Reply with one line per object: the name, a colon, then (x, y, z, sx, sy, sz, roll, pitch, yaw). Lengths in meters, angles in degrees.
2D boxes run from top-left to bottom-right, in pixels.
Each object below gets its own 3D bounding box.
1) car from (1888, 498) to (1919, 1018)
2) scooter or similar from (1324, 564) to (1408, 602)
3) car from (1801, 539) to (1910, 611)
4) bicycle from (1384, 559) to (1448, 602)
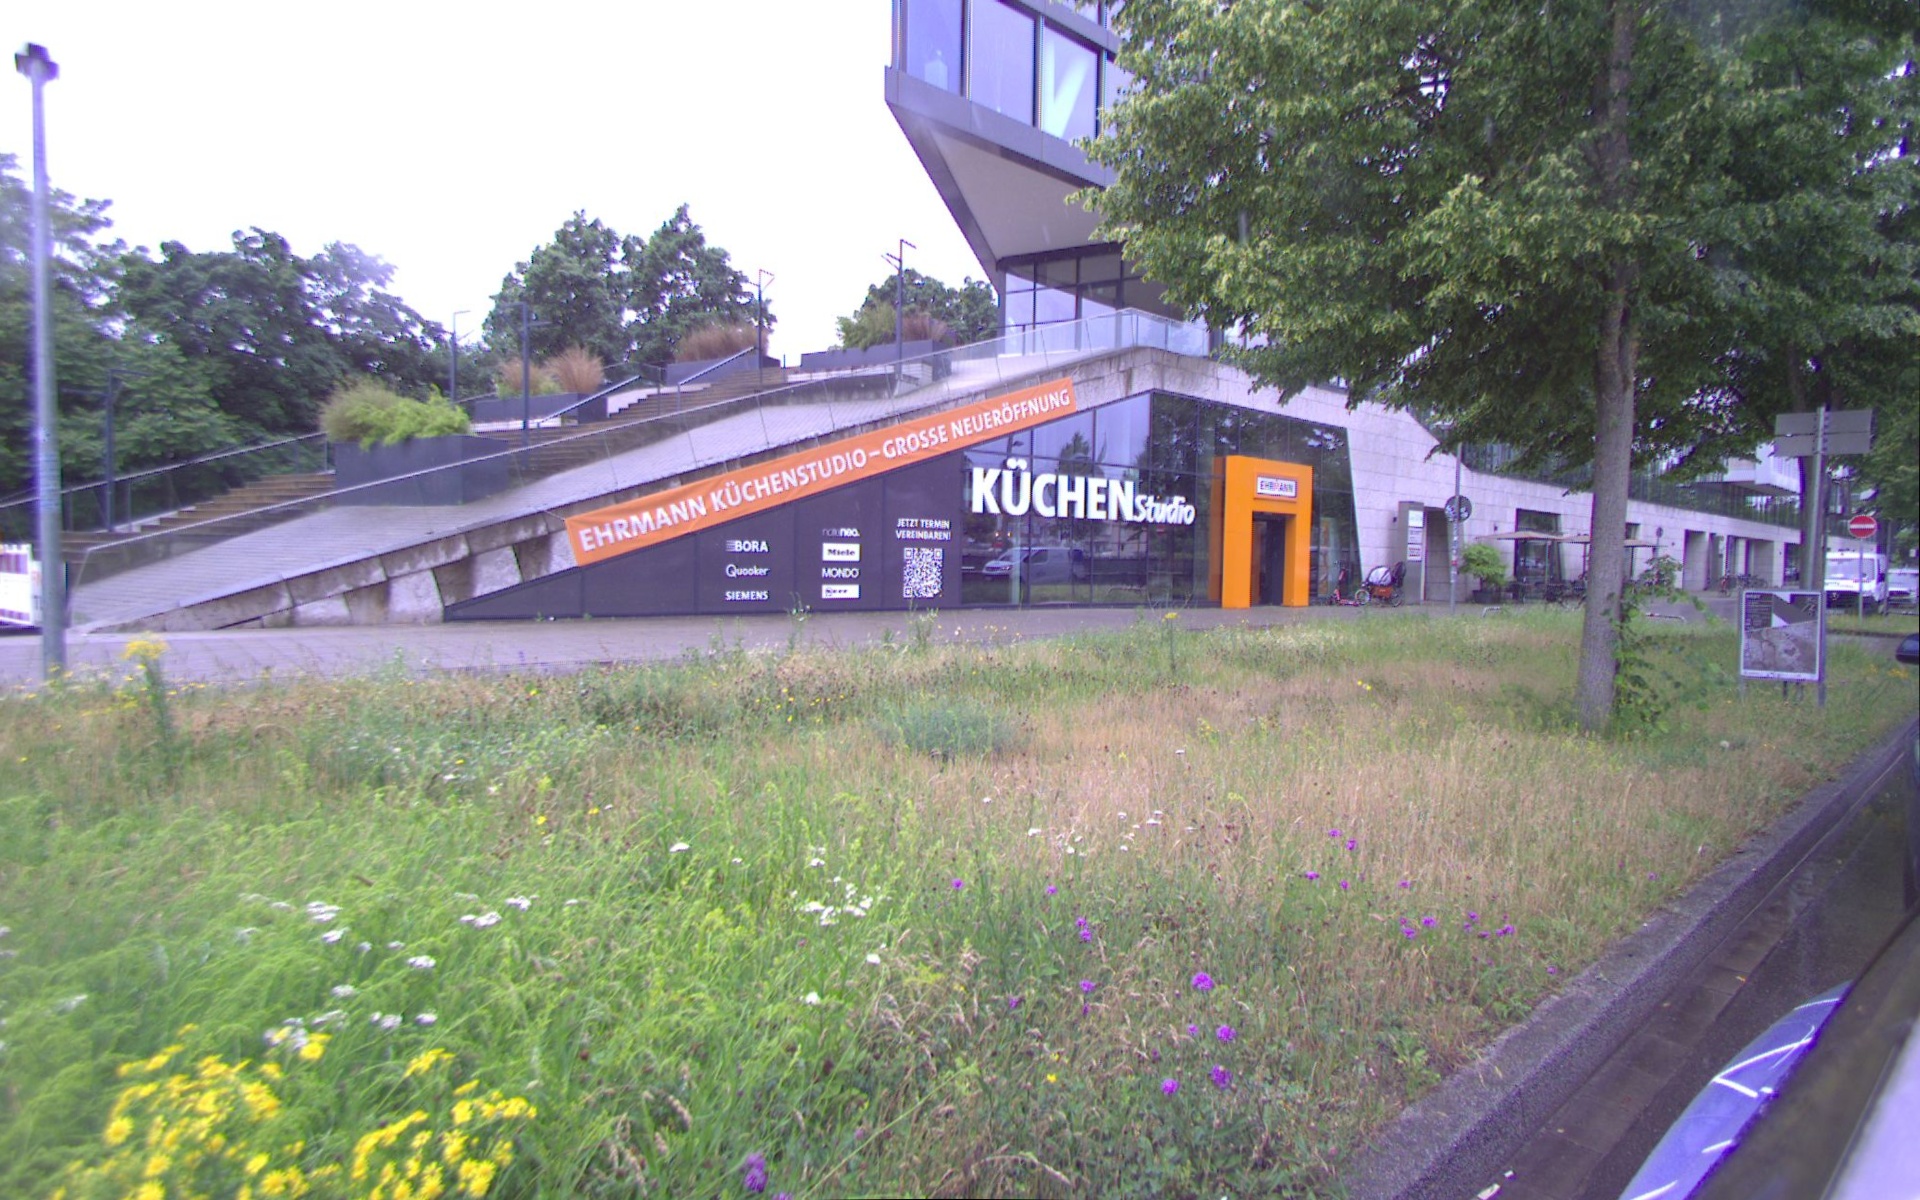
car: (5.459, 0.556, 4.186, 4.306, 1.769, 1.915, 1, 0, -41)
scooter or similar: (12.505, -0.523, 31.183, 2.560, 1.113, 0.814, -1, 1, -23)
car: (29.929, -0.822, 33.787, 5.009, 2.229, 2.083, -1, 1, -41)
bicycle: (14.906, -0.641, 33.043, 2.650, 1.364, 0.882, -1, 1, -41)
